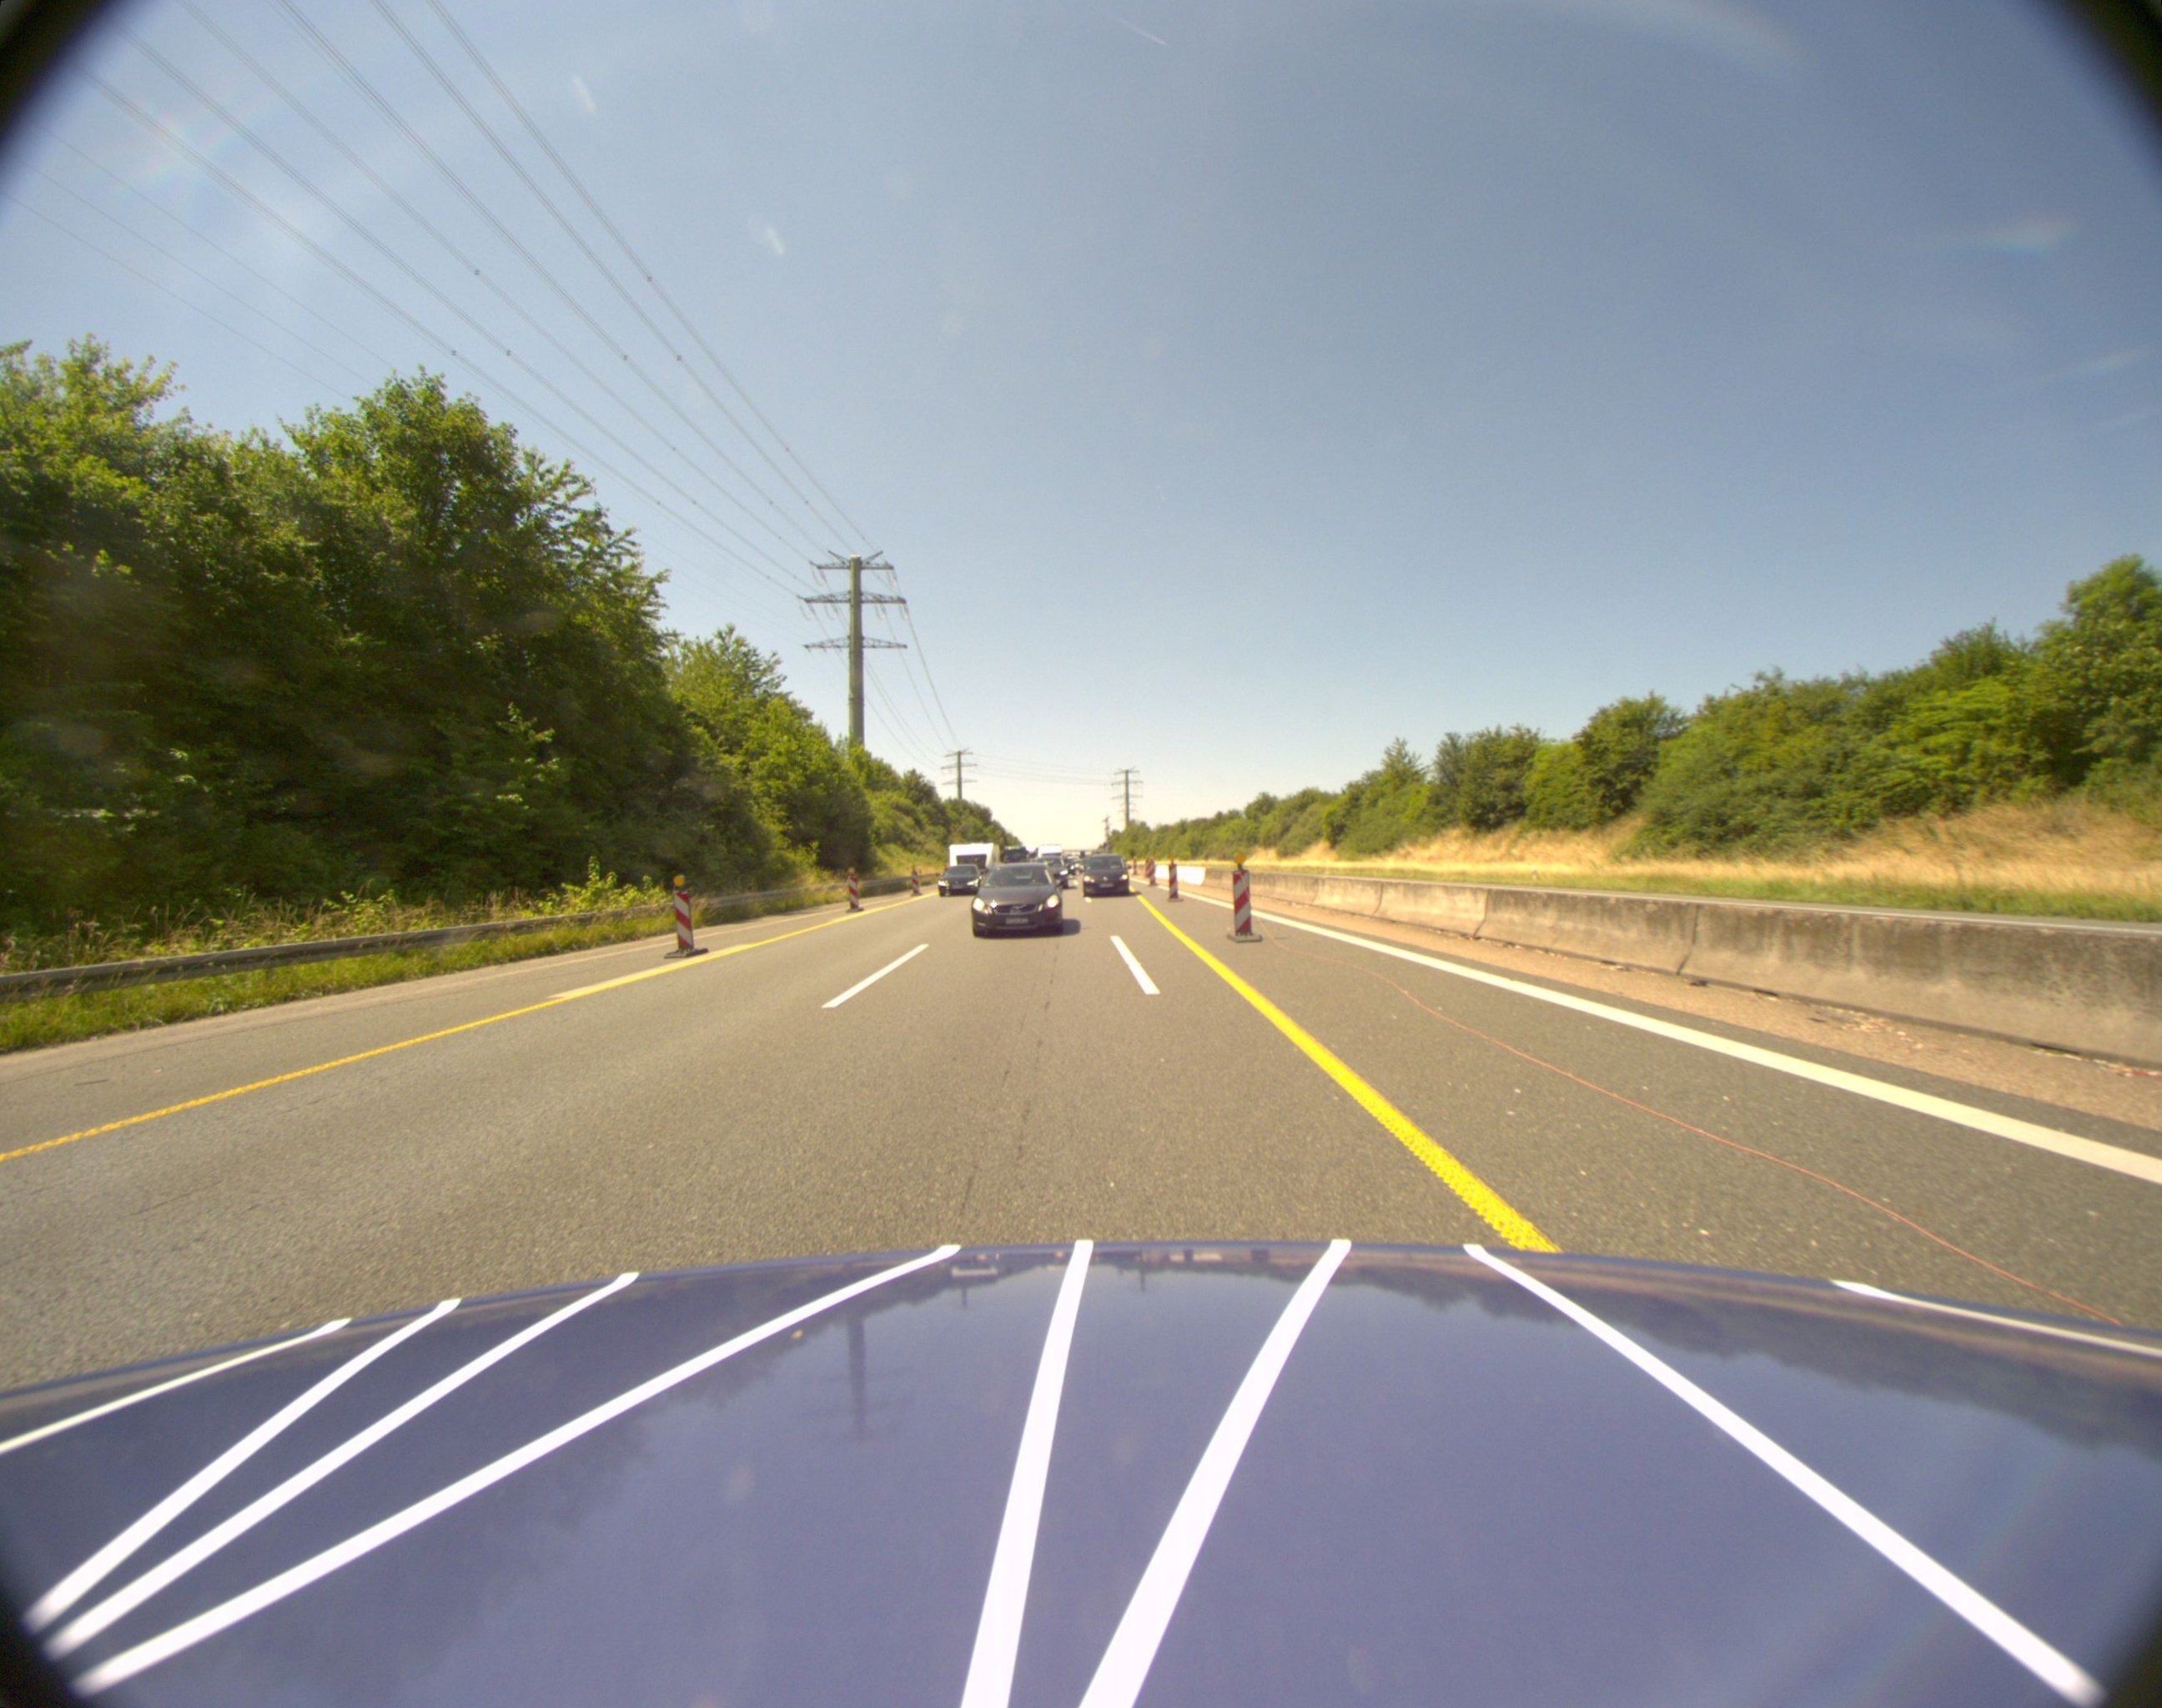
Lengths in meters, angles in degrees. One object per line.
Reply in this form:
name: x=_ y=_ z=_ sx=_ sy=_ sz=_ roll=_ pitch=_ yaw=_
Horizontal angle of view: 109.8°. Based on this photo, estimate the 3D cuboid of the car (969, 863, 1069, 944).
car: x=-1.219 y=0.970 z=16.498 sx=1.799 sy=1.433 sz=4.000 roll=-2 pitch=0 yaw=0

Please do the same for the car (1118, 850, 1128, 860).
car: x=9.218 y=0.110 z=167.994 sx=1.968 sy=2.073 sz=4.937 roll=-1 pitch=1 yaw=-1

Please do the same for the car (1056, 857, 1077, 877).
car: x=-1.310 y=1.113 z=66.918 sx=1.745 sy=1.658 sz=4.156 roll=-2 pitch=0 yaw=-2

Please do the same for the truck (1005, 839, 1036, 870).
truck: x=-6.840 y=0.052 z=86.865 sx=2.431 sy=3.122 sz=7.648 roll=-4 pitch=0 yaw=1

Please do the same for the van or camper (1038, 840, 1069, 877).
van or camper: x=-1.984 y=0.341 z=56.979 sx=1.998 sy=2.604 sz=5.629 roll=-1 pitch=0 yaw=1

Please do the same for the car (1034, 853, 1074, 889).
car: x=-1.334 y=0.830 z=38.652 sx=1.744 sy=1.658 sz=4.157 roll=-2 pitch=0 yaw=1

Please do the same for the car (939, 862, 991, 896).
car: x=-5.388 y=1.138 z=35.812 sx=1.801 sy=1.399 sz=4.209 roll=-2 pitch=0 yaw=0

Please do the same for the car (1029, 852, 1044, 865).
car: x=-6.448 y=0.602 z=109.942 sx=1.850 sy=1.810 sz=3.925 roll=-3 pitch=0 yaw=0

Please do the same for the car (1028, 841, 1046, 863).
car: x=-8.130 y=-0.364 z=140.674 sx=2.397 sy=3.779 sz=10.272 roll=-3 pitch=0 yaw=0

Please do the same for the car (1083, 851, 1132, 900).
car: x=0.994 y=0.767 z=29.510 sx=1.675 sy=1.619 sz=4.691 roll=-4 pitch=0 yaw=1

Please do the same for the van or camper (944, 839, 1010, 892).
van or camper: x=-5.567 y=0.573 z=42.122 sx=2.432 sy=2.549 sz=8.416 roll=-2 pitch=0 yaw=0
